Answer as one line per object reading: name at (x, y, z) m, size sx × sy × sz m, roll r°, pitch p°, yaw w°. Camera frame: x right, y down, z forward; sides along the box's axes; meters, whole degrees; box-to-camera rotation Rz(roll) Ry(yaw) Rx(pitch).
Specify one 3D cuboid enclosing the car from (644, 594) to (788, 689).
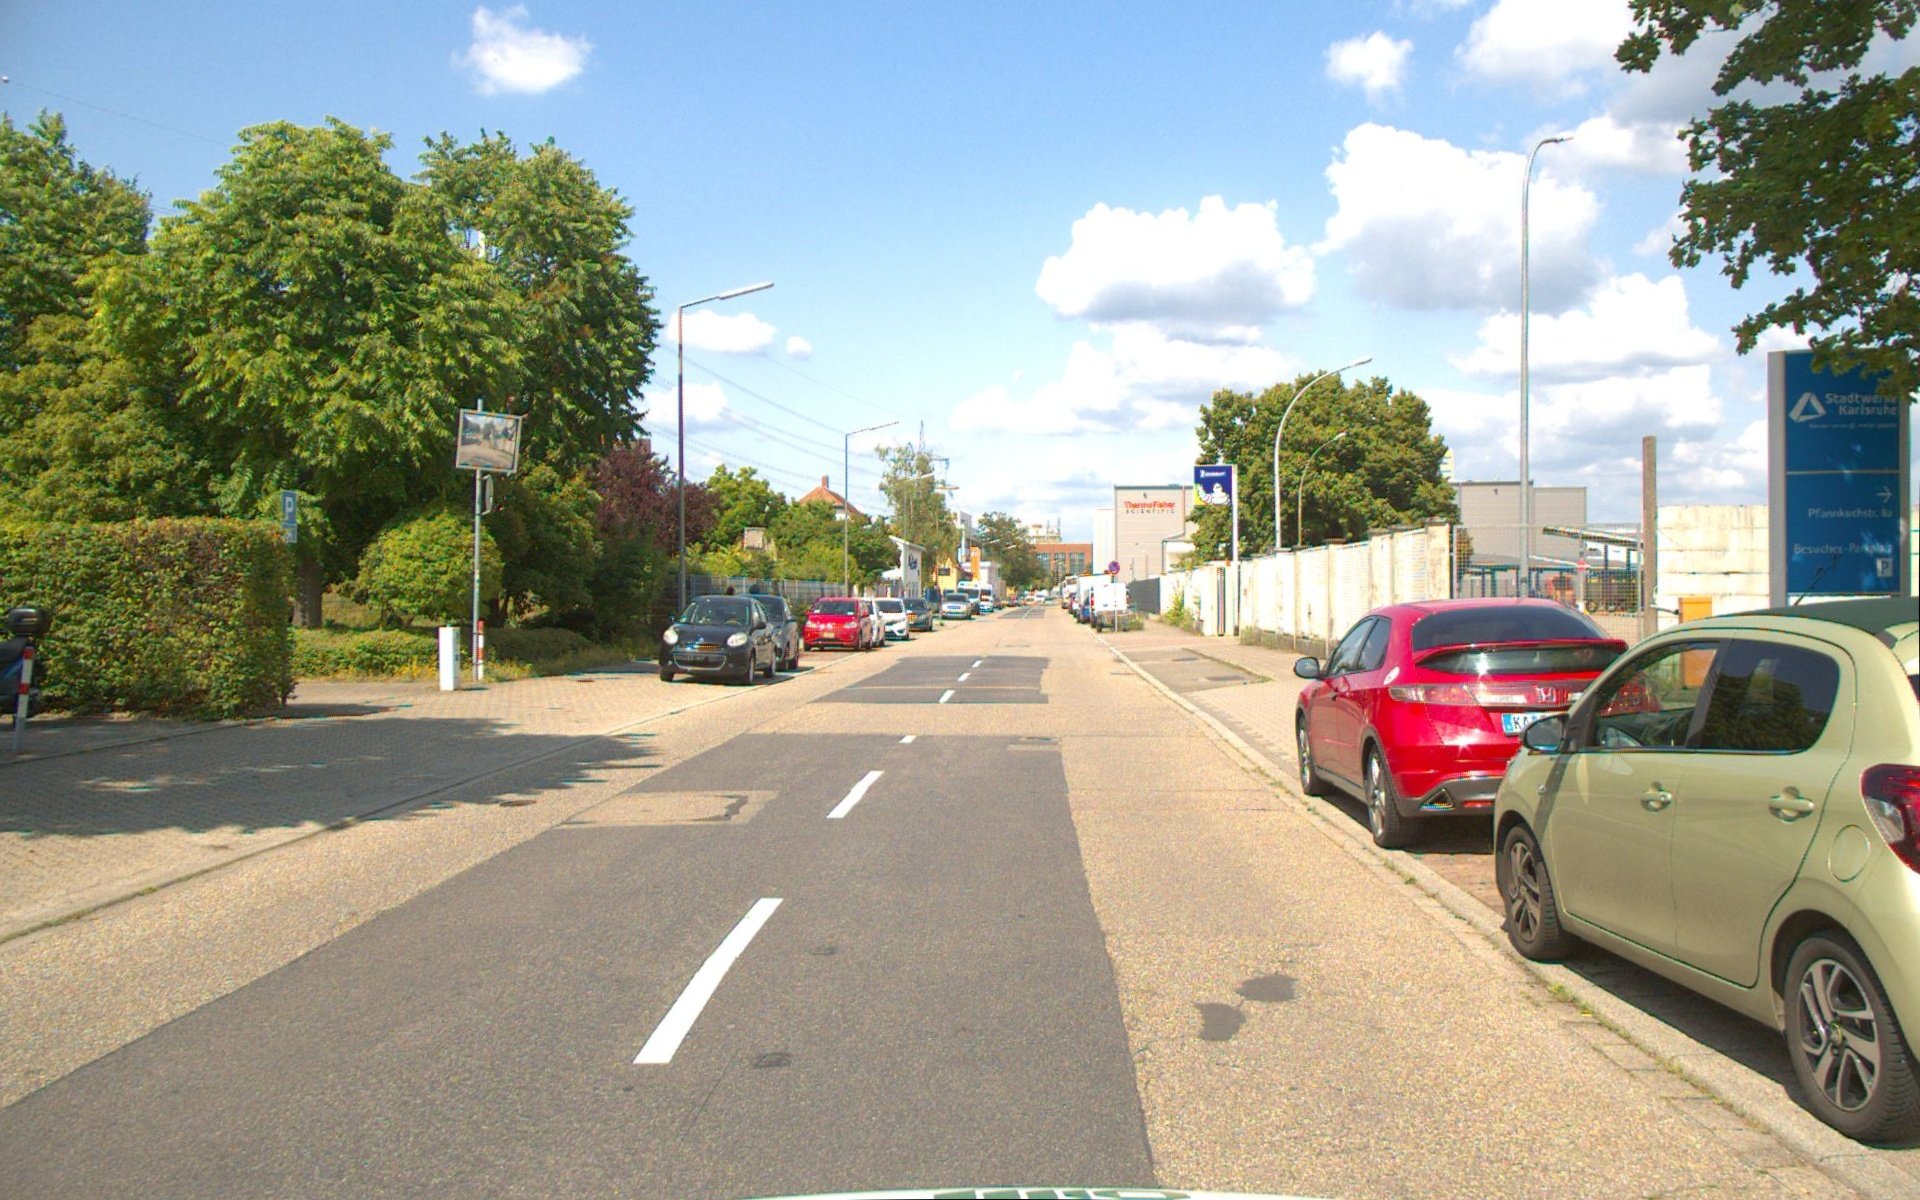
car at (-4.396, 0.712, 30.333) m, size 1.806 × 1.534 × 4.001 m, roll 3°, pitch 0°, yaw 3°

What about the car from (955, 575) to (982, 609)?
car at (0.708, -0.578, 132.720) m, size 1.988 × 2.602 × 6.658 m, roll 2°, pitch 0°, yaw 1°

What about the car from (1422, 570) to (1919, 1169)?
car at (3.203, 0.686, 6.126) m, size 1.666 × 1.512 × 3.805 m, roll -4°, pitch 0°, yaw -3°

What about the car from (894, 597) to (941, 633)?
car at (-1.850, 0.635, 72.846) m, size 1.768 × 1.443 × 4.497 m, roll 2°, pitch 0°, yaw 2°

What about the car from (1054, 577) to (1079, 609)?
car at (12.373, -0.793, 191.918) m, size 2.340 × 3.421 × 6.645 m, roll -3°, pitch 0°, yaw 0°

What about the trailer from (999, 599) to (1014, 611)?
trailer at (6.556, 0.705, 230.985) m, size 1.952 × 1.584 × 4.255 m, roll 0°, pitch 0°, yaw 3°

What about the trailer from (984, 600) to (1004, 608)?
trailer at (4.361, 0.526, 210.036) m, size 2.313 × 0.908 × 5.571 m, roll 1°, pitch 0°, yaw 3°

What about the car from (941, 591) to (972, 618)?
car at (-0.206, 0.297, 110.031) m, size 1.753 × 1.749 × 4.753 m, roll 2°, pitch 0°, yaw 3°

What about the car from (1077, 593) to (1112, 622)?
car at (7.414, 0.404, 91.617) m, size 1.655 × 1.486 × 4.071 m, roll -3°, pitch -1°, yaw 2°

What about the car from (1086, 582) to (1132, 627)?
car at (7.117, 0.220, 79.500) m, size 1.952 × 2.049 × 5.651 m, roll -1°, pitch 0°, yaw 3°

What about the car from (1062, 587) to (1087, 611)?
car at (9.956, -0.068, 143.454) m, size 2.011 × 1.936 × 5.149 m, roll -4°, pitch 0°, yaw 4°

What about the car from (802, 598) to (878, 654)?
car at (-3.377, 0.723, 47.150) m, size 1.631 × 1.492 × 3.745 m, roll 1°, pitch 0°, yaw 4°

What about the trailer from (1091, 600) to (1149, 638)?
trailer at (6.640, 0.807, 69.051) m, size 1.714 × 1.442 × 4.547 m, roll -3°, pitch -1°, yaw -2°

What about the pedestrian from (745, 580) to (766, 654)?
pedestrian at (-5.356, 0.452, 43.344) m, size 0.441 × 1.927 × 0.678 m, roll 0°, pitch -1°, yaw 3°

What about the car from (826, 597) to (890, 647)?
car at (-3.173, 0.673, 51.922) m, size 1.611 × 1.503 × 4.030 m, roll 0°, pitch 0°, yaw 2°

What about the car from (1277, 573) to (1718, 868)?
car at (3.362, 0.662, 11.226) m, size 1.717 × 1.512 × 4.226 m, roll -4°, pitch 0°, yaw 3°

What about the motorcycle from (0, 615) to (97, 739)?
motorcycle at (-9.939, 0.788, 17.447) m, size 0.521 × 1.241 × 2.086 m, roll -1°, pitch 0°, yaw 1°

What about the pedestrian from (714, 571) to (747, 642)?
pedestrian at (-5.950, 0.171, 42.928) m, size 0.693 × 1.832 × 0.916 m, roll 0°, pitch -1°, yaw 3°

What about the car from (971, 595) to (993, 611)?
car at (2.053, 0.258, 152.427) m, size 1.758 × 1.422 × 4.504 m, roll 1°, pitch 0°, yaw 4°

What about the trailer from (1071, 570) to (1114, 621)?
trailer at (7.837, -0.237, 98.451) m, size 2.159 × 2.784 × 6.223 m, roll -3°, pitch -1°, yaw 2°

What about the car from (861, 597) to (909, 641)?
car at (-2.738, 0.671, 60.965) m, size 1.587 × 1.549 × 4.175 m, roll 0°, pitch 0°, yaw 0°

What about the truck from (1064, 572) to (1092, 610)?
truck at (11.423, -0.841, 160.922) m, size 2.408 × 3.350 × 6.820 m, roll -5°, pitch -1°, yaw 4°

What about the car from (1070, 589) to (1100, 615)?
car at (8.798, 0.126, 116.895) m, size 1.895 × 1.723 × 4.681 m, roll -3°, pitch 0°, yaw 3°

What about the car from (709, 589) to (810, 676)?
car at (-4.200, 0.651, 35.102) m, size 1.616 × 1.674 × 3.274 m, roll 3°, pitch 0°, yaw 1°
